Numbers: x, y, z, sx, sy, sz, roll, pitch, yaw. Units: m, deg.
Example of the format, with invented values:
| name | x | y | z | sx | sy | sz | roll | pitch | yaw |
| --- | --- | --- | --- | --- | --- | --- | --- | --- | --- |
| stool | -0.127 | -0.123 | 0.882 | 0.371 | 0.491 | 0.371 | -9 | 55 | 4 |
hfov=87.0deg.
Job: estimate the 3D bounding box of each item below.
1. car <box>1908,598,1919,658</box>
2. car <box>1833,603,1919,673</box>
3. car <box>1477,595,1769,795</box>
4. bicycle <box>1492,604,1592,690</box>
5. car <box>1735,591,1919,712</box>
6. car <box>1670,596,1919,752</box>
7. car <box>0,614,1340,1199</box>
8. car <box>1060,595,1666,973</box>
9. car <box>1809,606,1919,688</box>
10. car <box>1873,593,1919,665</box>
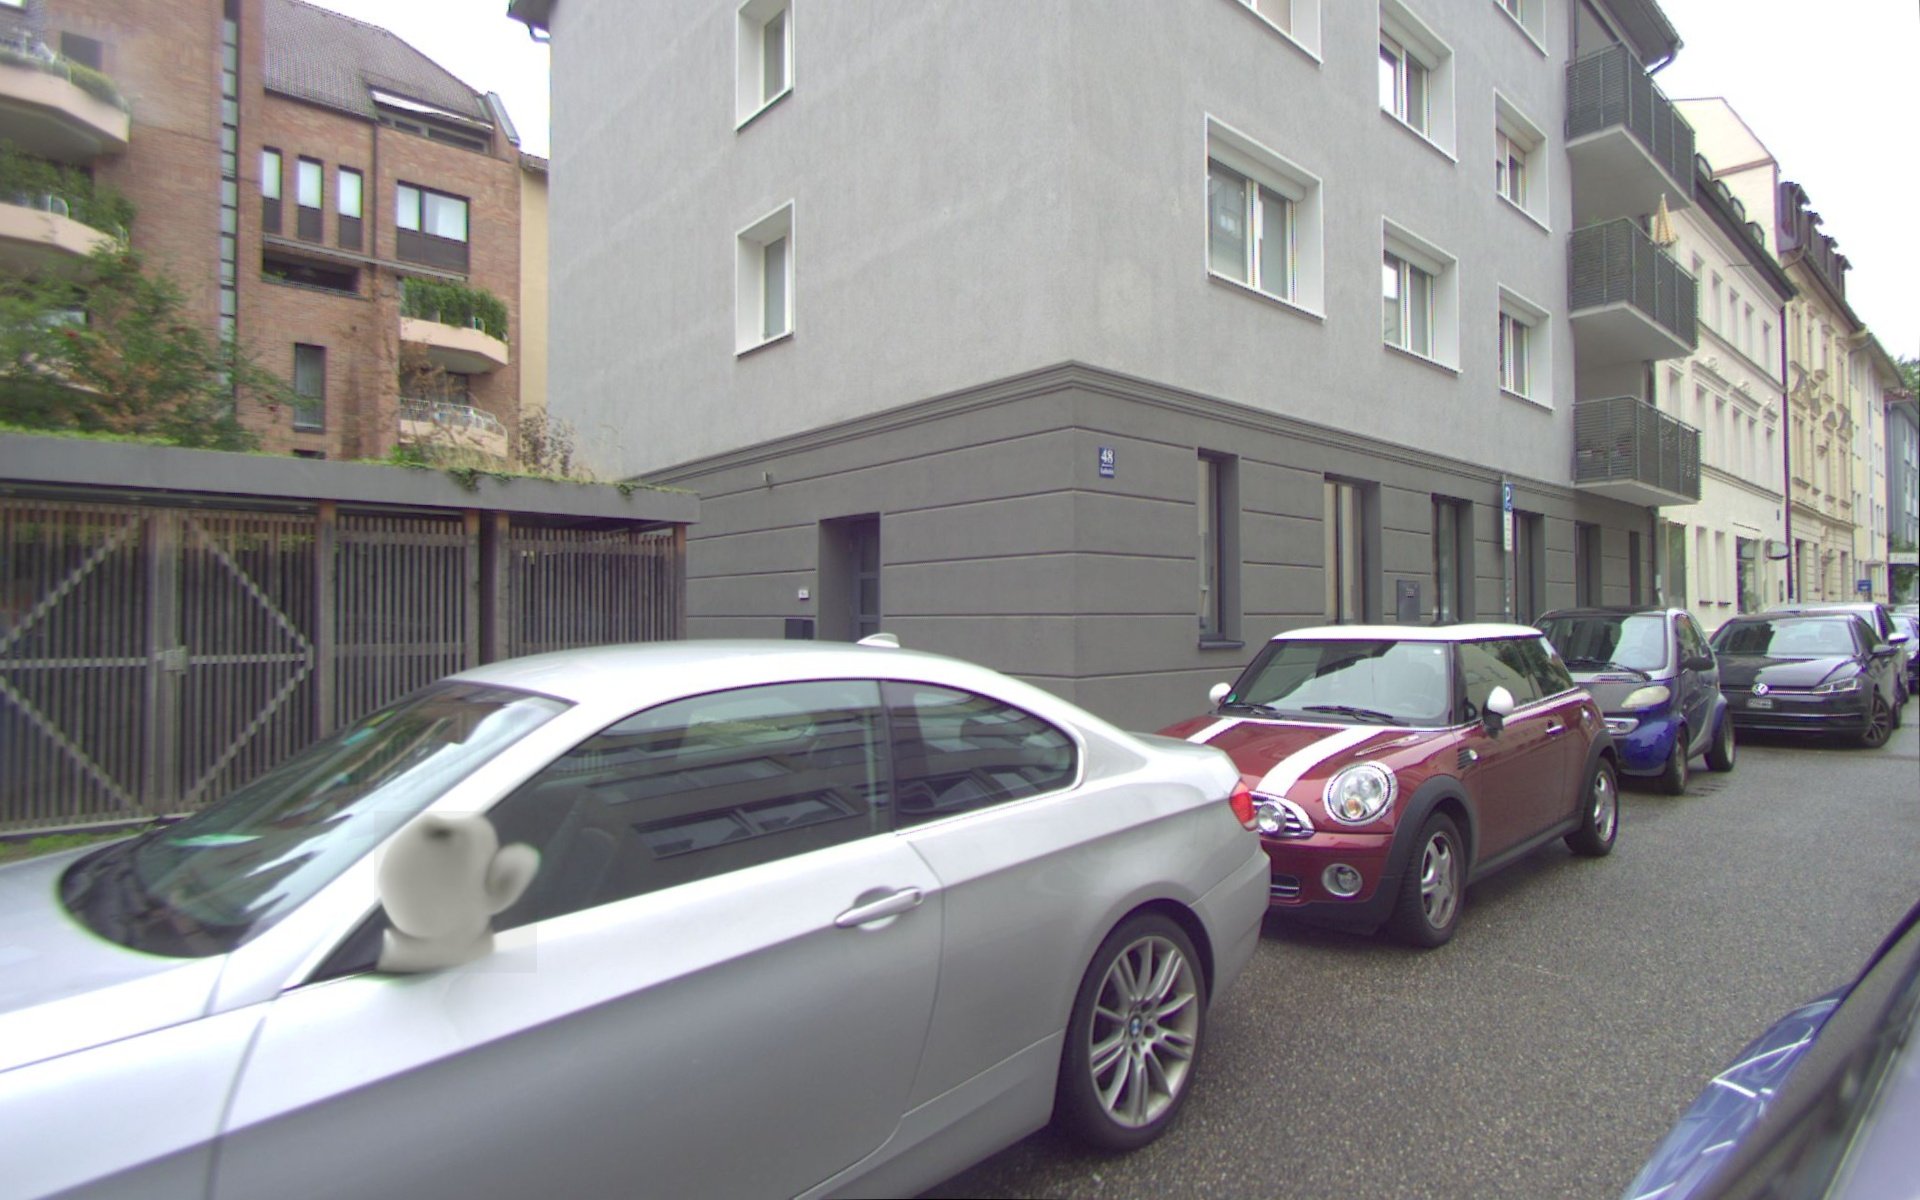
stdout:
| name | x | y | z | sx | sy | sz | roll | pitch | yaw |
| --- | --- | --- | --- | --- | --- | --- | --- | --- | --- |
| car | 28.376 | 0.763 | 28.734 | 4.604 | 1.628 | 1.704 | 0 | -2 | -42 |
| car | 20.479 | 0.766 | 21.990 | 4.274 | 1.403 | 1.802 | 0 | 0 | -42 |
| car | 6.234 | 0.747 | 9.403 | 3.148 | 1.531 | 1.522 | 0 | -2 | -43 |
| bicycle | 8.061 | 0.617 | 13.976 | 1.961 | 1.105 | 0.570 | 0 | -1 | -41 |
| car | 13.441 | 0.675 | 15.488 | 4.244 | 1.590 | 1.877 | 0 | 0 | -43 |
| car | 10.202 | 0.758 | 12.175 | 4.220 | 1.548 | 1.841 | 0 | -2 | -43 |
| car | -0.977 | 0.782 | 2.638 | 4.522 | 1.435 | 1.838 | 0 | -2 | -43 |
| car | 2.611 | 0.749 | 6.021 | 4.079 | 1.481 | 1.747 | 0 | -2 | -43 |
| car | 17.333 | 0.807 | 18.810 | 3.876 | 1.380 | 1.811 | 0 | 0 | -41 |
| car | 24.158 | 0.692 | 25.167 | 4.434 | 1.682 | 1.678 | 0 | -2 | -42 |
